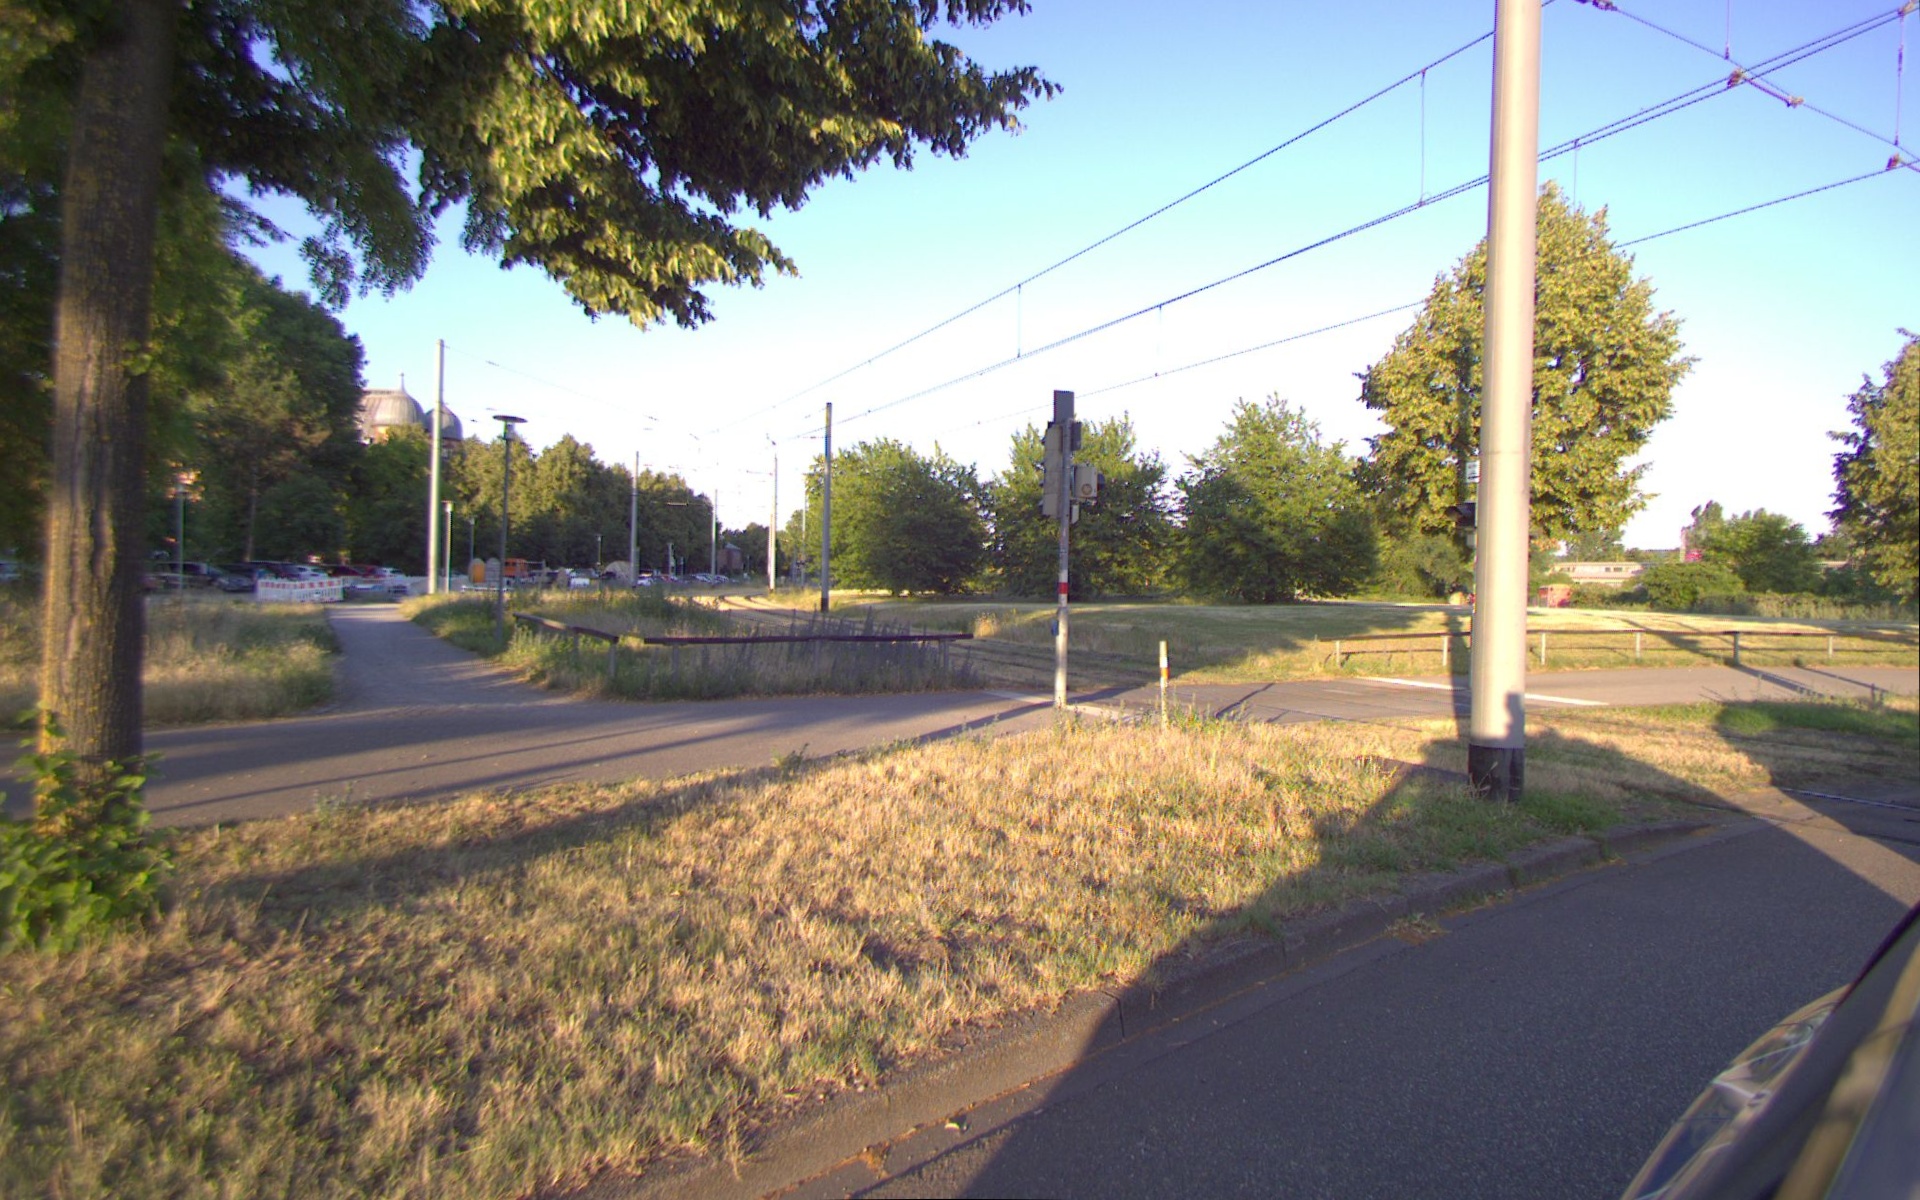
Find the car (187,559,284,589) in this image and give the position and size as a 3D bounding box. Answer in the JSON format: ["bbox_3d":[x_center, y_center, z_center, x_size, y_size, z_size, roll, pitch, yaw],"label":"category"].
[{"bbox_3d":[-39.829,-1.438,55.719,3.919,1.573,1.906,1,1,-6],"label":"car"}]

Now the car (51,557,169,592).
[{"bbox_3d":[-40.227,-1.218,47.972,3.919,1.573,1.906,1,1,-6],"label":"car"}]

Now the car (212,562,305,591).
[{"bbox_3d":[-39.995,-1.319,57.779,3.919,1.573,1.906,1,1,-6],"label":"car"}]

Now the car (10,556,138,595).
[{"bbox_3d":[-39.717,-1.102,45.449,3.919,1.682,1.956,1,1,-6],"label":"car"}]

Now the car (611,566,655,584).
[{"bbox_3d":[-29.561,-2.244,91.619,3.537,1.500,1.714,2,0,-9],"label":"car"}]

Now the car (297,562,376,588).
[{"bbox_3d":[-40.142,-1.620,65.197,3.919,1.573,1.906,1,1,-6],"label":"car"}]

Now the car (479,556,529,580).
[{"bbox_3d":[-42.742,-2.972,94.935,3.919,2.121,1.906,1,1,-6],"label":"car"}]

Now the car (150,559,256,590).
[{"bbox_3d":[-39.490,-1.326,52.849,4.016,1.573,1.906,1,1,-6],"label":"car"}]

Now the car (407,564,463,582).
[{"bbox_3d":[-42.288,-2.174,81.524,3.603,1.371,1.803,1,1,-9],"label":"car"}]

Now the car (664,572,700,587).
[{"bbox_3d":[-29.911,-2.199,109.057,3.537,1.500,1.714,2,0,-9],"label":"car"}]

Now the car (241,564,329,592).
[{"bbox_3d":[-40.343,-1.325,60.562,3.919,1.573,1.906,1,1,-6],"label":"car"}]

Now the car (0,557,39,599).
[{"bbox_3d":[-39.865,-0.911,40.627,3.919,1.682,1.956,1,1,-6],"label":"car"}]

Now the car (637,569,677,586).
[{"bbox_3d":[-30.339,-2.239,101.357,3.537,1.500,1.714,2,0,-9],"label":"car"}]

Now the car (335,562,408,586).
[{"bbox_3d":[-40.751,-1.824,70.169,3.919,1.573,1.906,1,1,-6],"label":"car"}]

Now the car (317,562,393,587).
[{"bbox_3d":[-40.454,-1.689,67.718,3.919,1.573,1.906,1,1,-6],"label":"car"}]

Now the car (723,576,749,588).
[{"bbox_3d":[-32.551,-2.629,147.251,3.537,1.500,1.714,2,0,-9],"label":"car"}]

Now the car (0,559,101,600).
[{"bbox_3d":[-39.529,-0.891,43.229,3.919,1.682,1.956,1,1,-6],"label":"car"}]
